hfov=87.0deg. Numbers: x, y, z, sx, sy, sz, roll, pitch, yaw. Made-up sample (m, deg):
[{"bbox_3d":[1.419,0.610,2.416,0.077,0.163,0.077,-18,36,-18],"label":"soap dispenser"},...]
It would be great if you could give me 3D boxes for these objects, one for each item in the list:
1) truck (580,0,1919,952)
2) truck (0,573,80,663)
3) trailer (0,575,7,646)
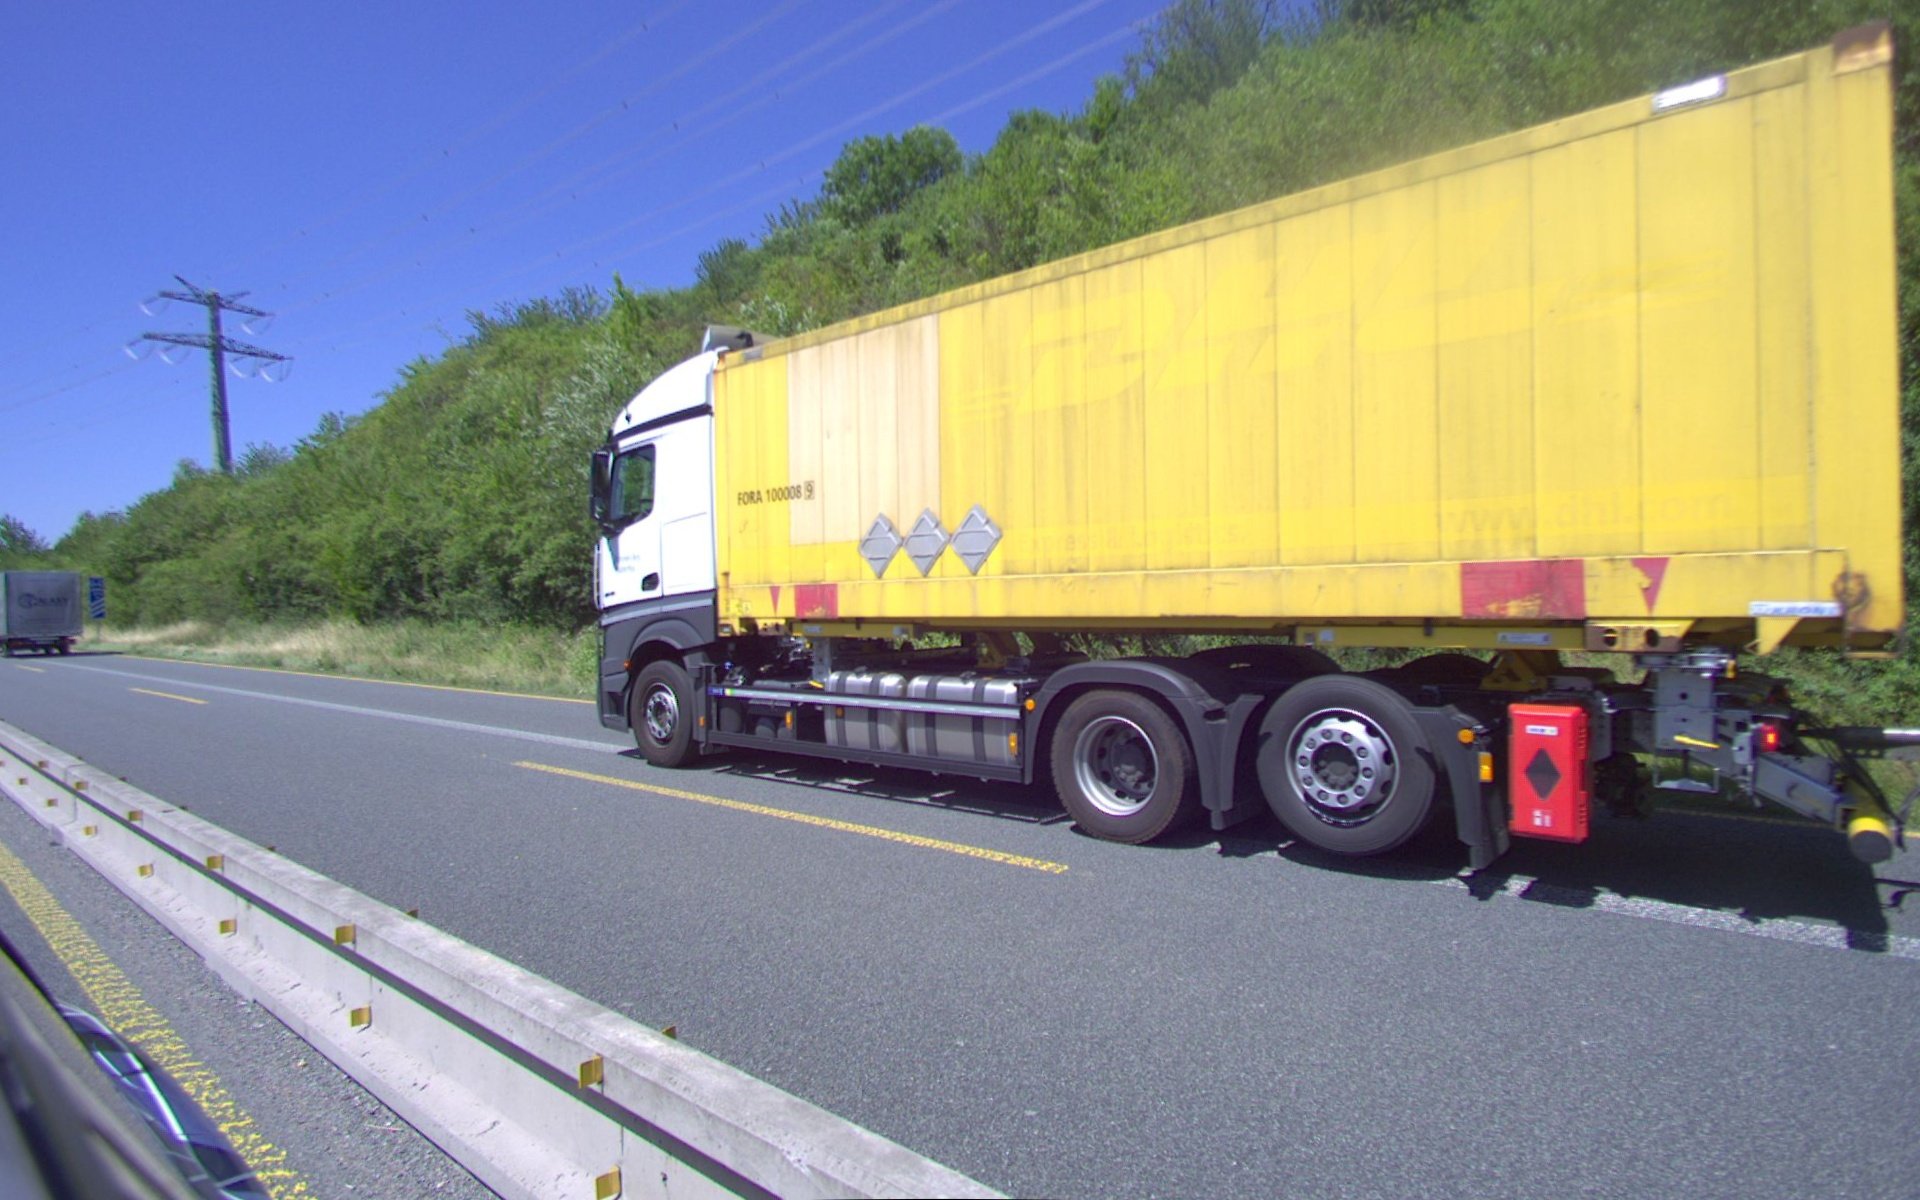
[{"bbox_3d":[0.826,-0.686,7.746,9.646,4.022,2.622,-1,1,41],"label":"truck"},{"bbox_3d":[-37.763,0.693,40.861,7.497,3.355,2.380,-1,0,42],"label":"truck"},{"bbox_3d":[-61.883,0.769,62.545,13.234,4.156,2.862,-1,0,41],"label":"trailer"}]
